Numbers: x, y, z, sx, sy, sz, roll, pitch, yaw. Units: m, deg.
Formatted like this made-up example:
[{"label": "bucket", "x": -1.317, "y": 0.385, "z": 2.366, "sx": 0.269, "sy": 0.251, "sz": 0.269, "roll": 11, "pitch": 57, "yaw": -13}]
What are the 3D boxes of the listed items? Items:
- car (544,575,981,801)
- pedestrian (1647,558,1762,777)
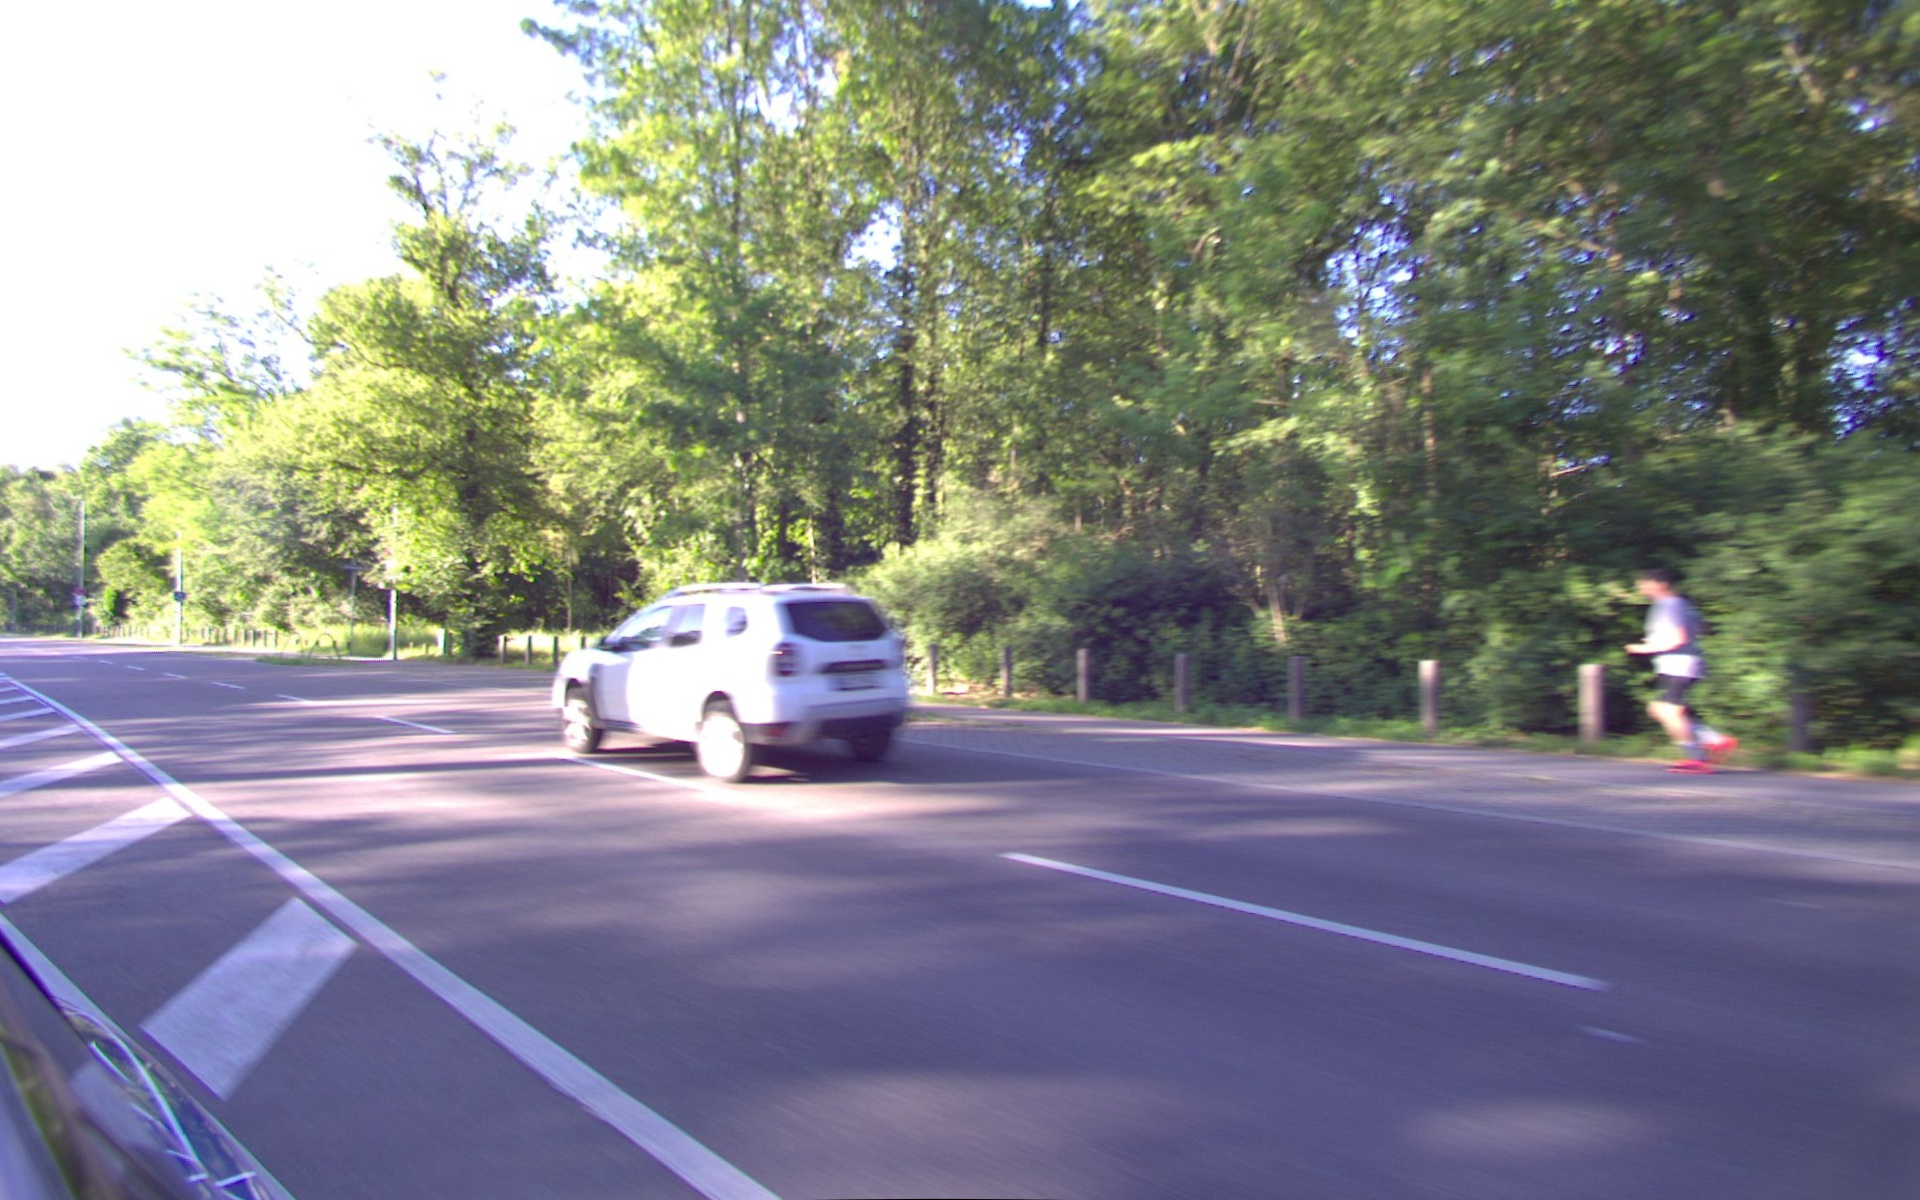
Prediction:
[{"label": "car", "x": -2.094, "y": 0.684, "z": 9.776, "sx": 4.450, "sy": 1.672, "sz": 1.971, "roll": -1, "pitch": -1, "yaw": 44}, {"label": "pedestrian", "x": 6.452, "y": 0.564, "z": 8.768, "sx": 0.737, "sy": 1.781, "sz": 0.763, "roll": -1, "pitch": -3, "yaw": 40}]
